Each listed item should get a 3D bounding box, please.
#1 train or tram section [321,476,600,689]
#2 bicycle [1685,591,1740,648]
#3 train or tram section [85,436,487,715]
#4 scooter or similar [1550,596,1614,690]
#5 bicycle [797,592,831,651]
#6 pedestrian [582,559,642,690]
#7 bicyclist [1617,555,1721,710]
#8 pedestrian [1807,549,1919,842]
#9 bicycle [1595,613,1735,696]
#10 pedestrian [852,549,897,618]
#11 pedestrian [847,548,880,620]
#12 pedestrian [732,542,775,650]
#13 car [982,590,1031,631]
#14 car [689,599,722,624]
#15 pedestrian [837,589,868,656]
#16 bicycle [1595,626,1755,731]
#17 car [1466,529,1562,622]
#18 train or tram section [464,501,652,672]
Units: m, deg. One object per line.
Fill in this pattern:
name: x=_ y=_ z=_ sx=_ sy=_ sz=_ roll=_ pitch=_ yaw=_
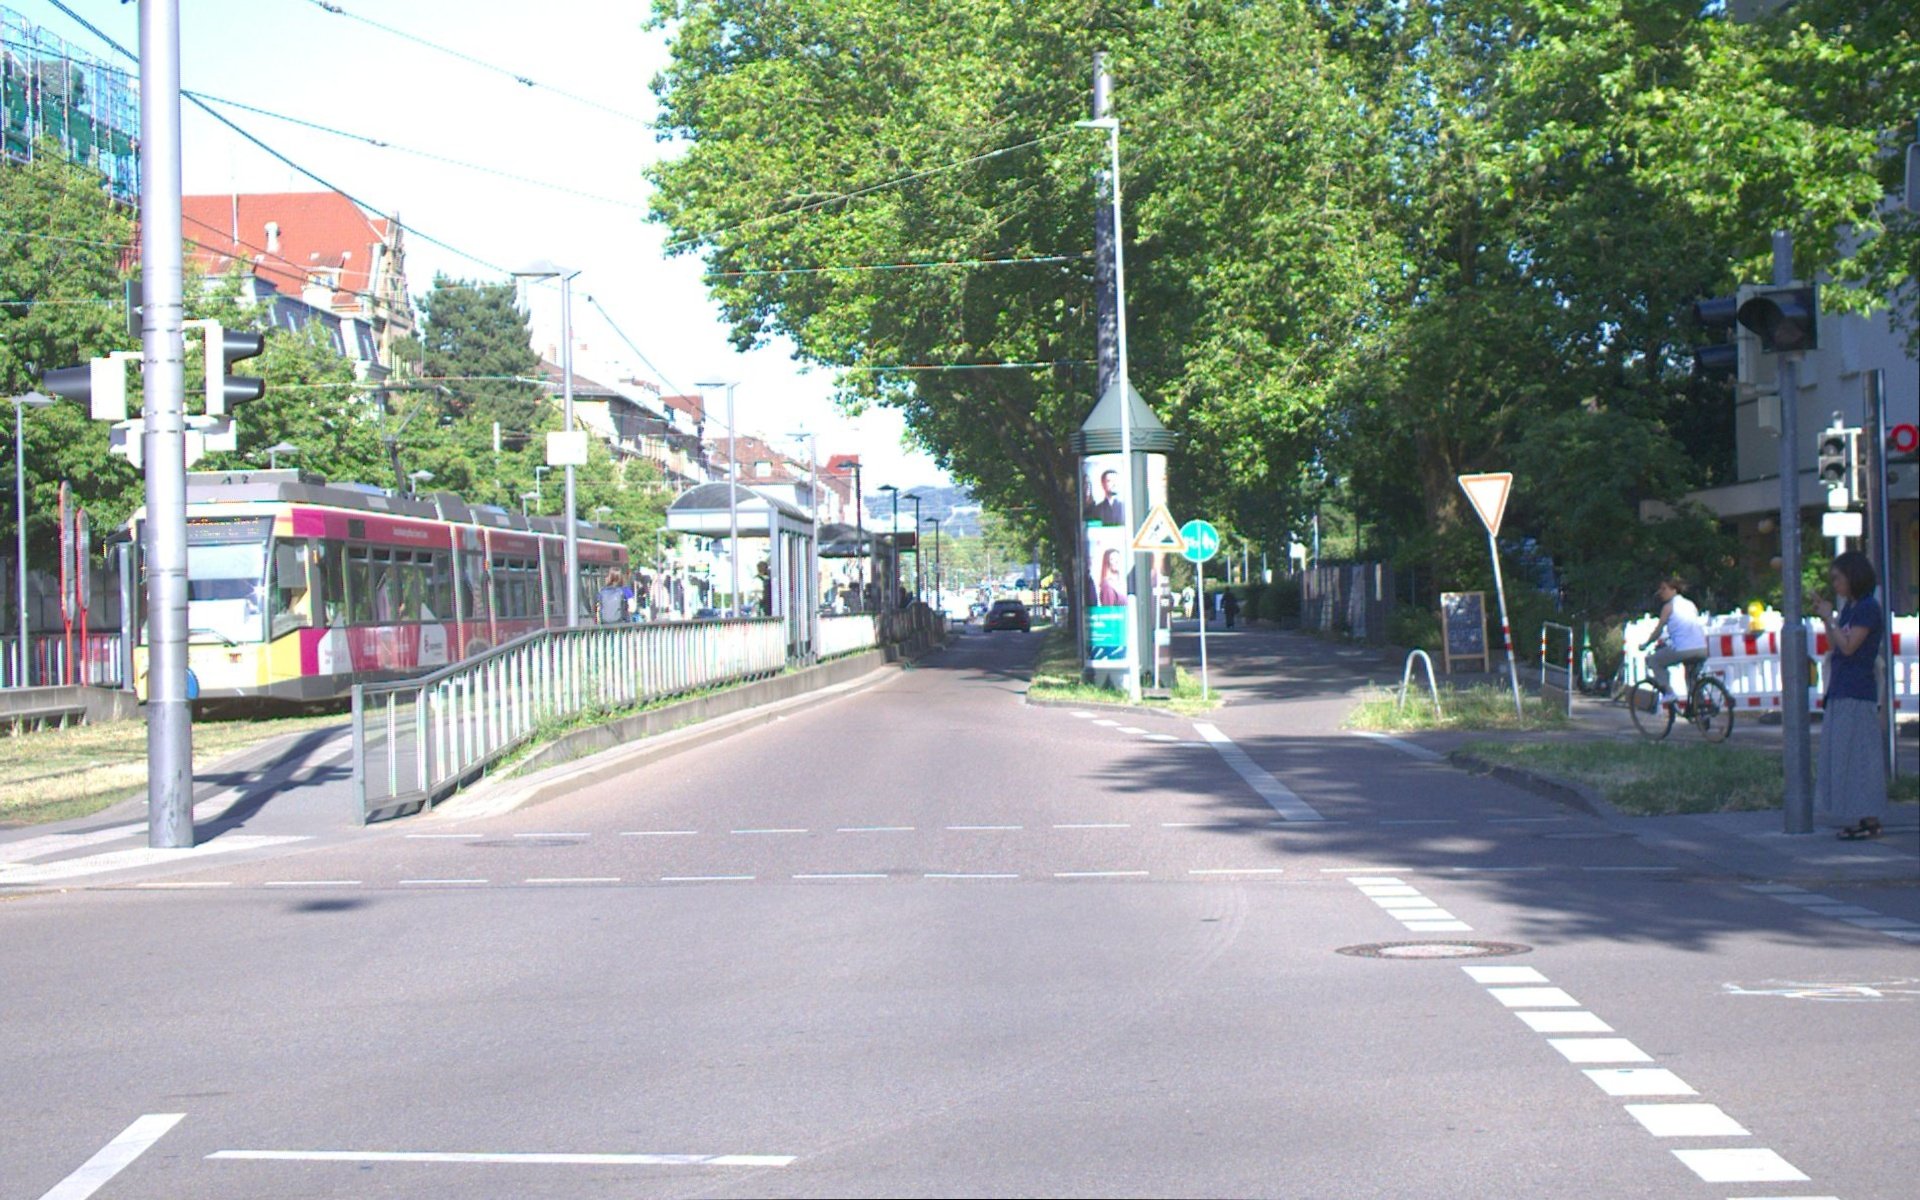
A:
train or tram section: x=-9.568 y=-0.302 z=67.831 sx=2.870 sy=3.673 sz=14.559 roll=-1 pitch=0 yaw=2
bicycle: x=15.837 y=0.413 z=72.348 sx=0.789 sy=1.173 sz=1.820 roll=1 pitch=0 yaw=1
train or tram section: x=-10.023 y=-0.325 z=53.298 sx=2.870 sy=3.663 sz=14.559 roll=-1 pitch=0 yaw=2
scooter or similar: x=8.527 y=0.593 z=47.156 sx=0.560 sy=1.253 sz=1.290 roll=-2 pitch=-1 yaw=-2
bicycle: x=-2.864 y=0.416 z=67.670 sx=0.513 sy=1.129 sz=2.103 roll=1 pitch=0 yaw=1
pedestrian: x=-4.354 y=0.303 z=43.050 sx=0.629 sy=1.604 sz=0.982 roll=1 pitch=0 yaw=0
bicyclist: x=7.220 y=0.330 z=35.031 sx=0.603 sy=1.545 sz=0.860 roll=-1 pitch=0 yaw=-27
pedestrian: x=5.124 y=0.530 z=19.503 sx=0.427 sy=1.633 sz=0.613 roll=0 pitch=0 yaw=-6
bicycle: x=9.101 y=0.693 z=44.469 sx=0.603 sy=1.023 sz=1.953 roll=-2 pitch=1 yaw=-30
pedestrian: x=-2.141 y=-0.408 z=86.290 sx=0.907 sy=1.716 sz=0.631 roll=1 pitch=0 yaw=-32
pedestrian: x=-2.364 y=-0.381 z=84.577 sx=0.765 sy=1.753 sz=0.695 roll=1 pitch=0 yaw=1
pedestrian: x=-3.658 y=-0.074 z=60.951 sx=0.669 sy=1.896 sz=0.824 roll=1 pitch=0 yaw=1
car: x=1.994 y=0.436 z=146.177 sx=1.993 sy=1.678 sz=4.000 roll=1 pitch=0 yaw=2
car: x=-18.894 y=0.876 z=255.530 sx=2.015 sy=1.748 sz=4.558 roll=1 pitch=1 yaw=1
pedestrian: x=-2.529 y=0.528 z=80.921 sx=0.678 sy=1.557 sz=0.851 roll=1 pitch=0 yaw=1
bicycle: x=7.260 y=0.792 z=34.983 sx=0.603 sy=1.023 sz=1.767 roll=-1 pitch=0 yaw=-27
car: x=15.286 y=-0.652 z=95.117 sx=1.994 sy=2.491 sz=6.345 roll=1 pitch=0 yaw=4
train or tram section: x=-9.212 y=-0.284 z=79.941 sx=2.870 sy=3.673 sz=9.683 roll=-1 pitch=0 yaw=2
